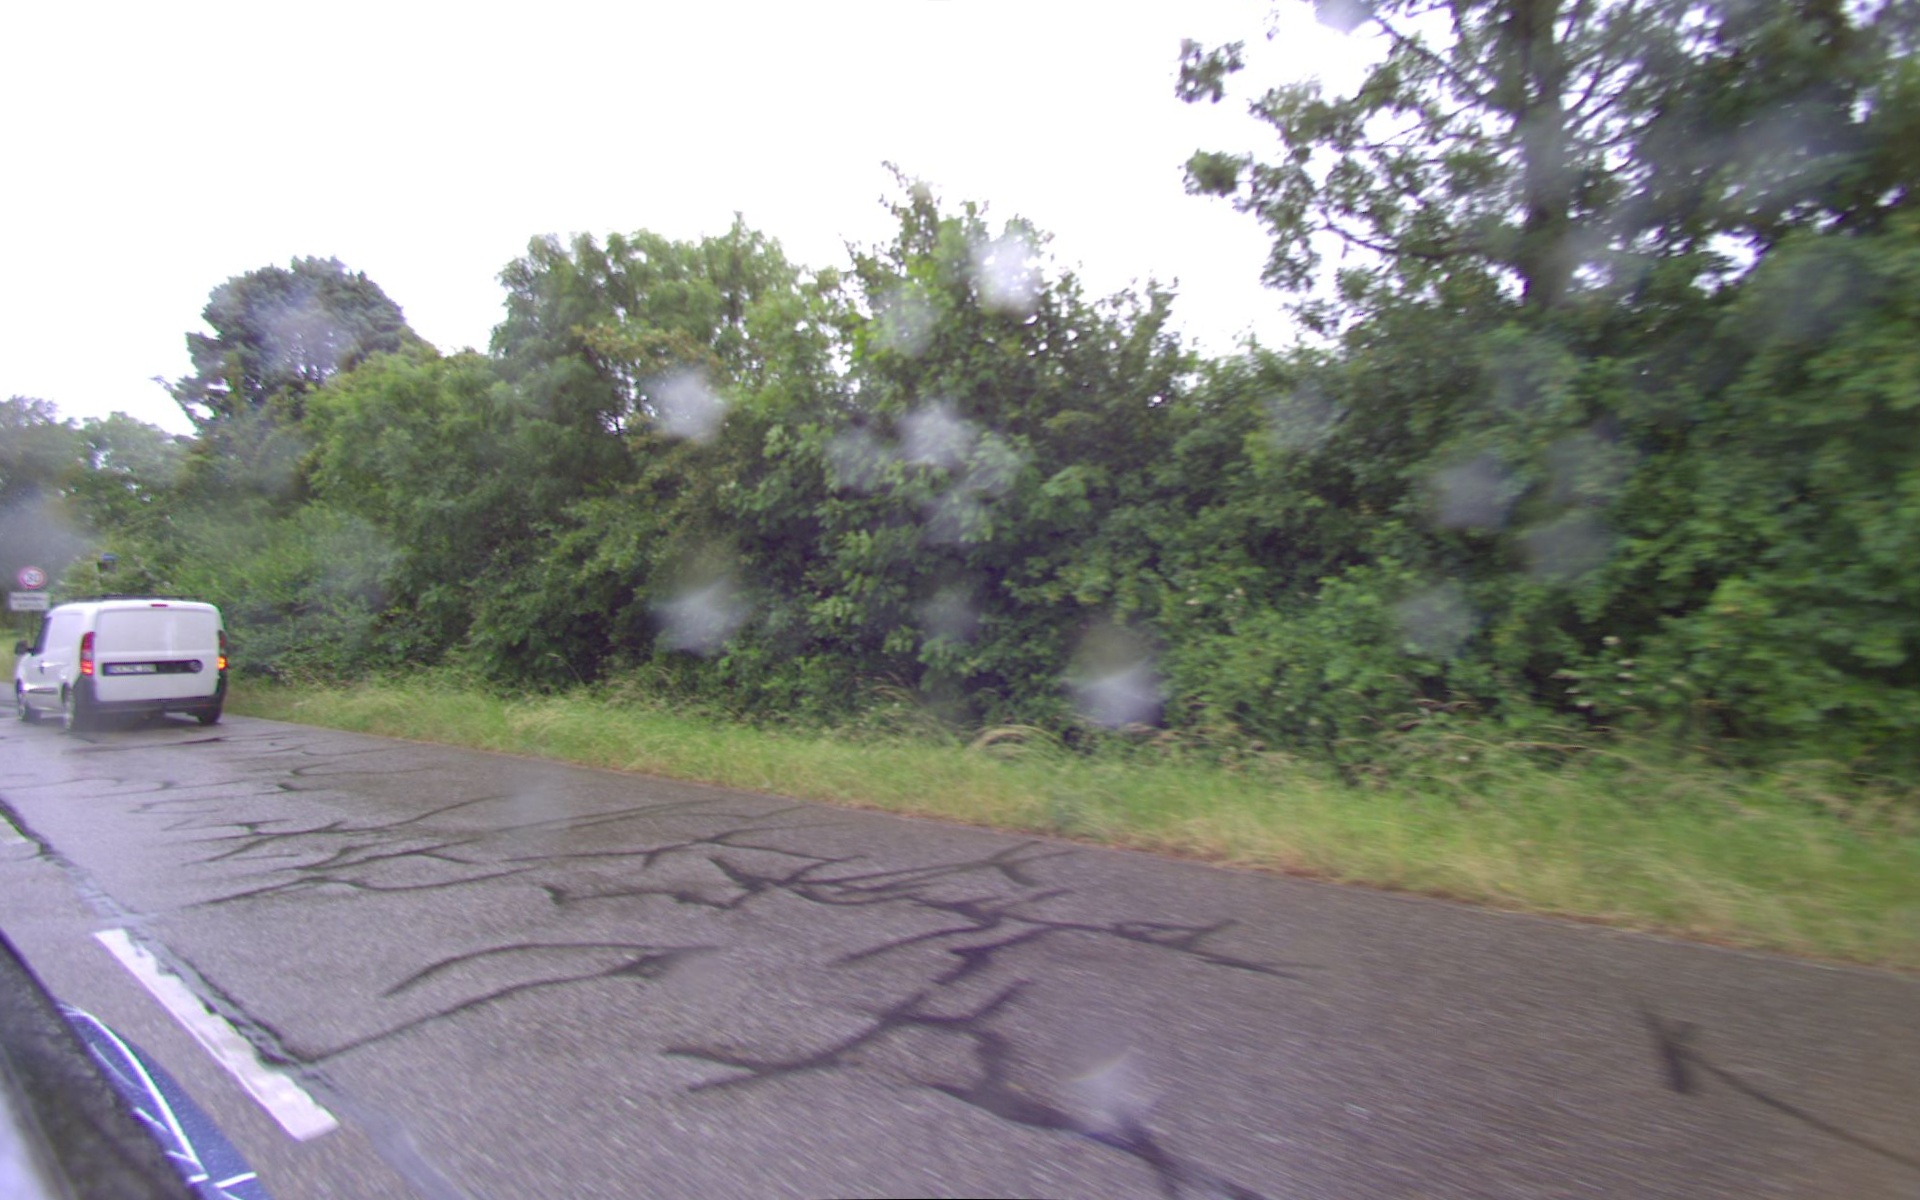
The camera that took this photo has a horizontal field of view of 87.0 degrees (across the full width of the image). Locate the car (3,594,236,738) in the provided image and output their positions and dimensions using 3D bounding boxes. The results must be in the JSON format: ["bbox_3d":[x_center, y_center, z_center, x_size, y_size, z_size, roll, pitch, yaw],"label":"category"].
[{"bbox_3d":[-12.602,0.892,15.112,3.948,1.878,1.815,-1,-1,37],"label":"car"}]
